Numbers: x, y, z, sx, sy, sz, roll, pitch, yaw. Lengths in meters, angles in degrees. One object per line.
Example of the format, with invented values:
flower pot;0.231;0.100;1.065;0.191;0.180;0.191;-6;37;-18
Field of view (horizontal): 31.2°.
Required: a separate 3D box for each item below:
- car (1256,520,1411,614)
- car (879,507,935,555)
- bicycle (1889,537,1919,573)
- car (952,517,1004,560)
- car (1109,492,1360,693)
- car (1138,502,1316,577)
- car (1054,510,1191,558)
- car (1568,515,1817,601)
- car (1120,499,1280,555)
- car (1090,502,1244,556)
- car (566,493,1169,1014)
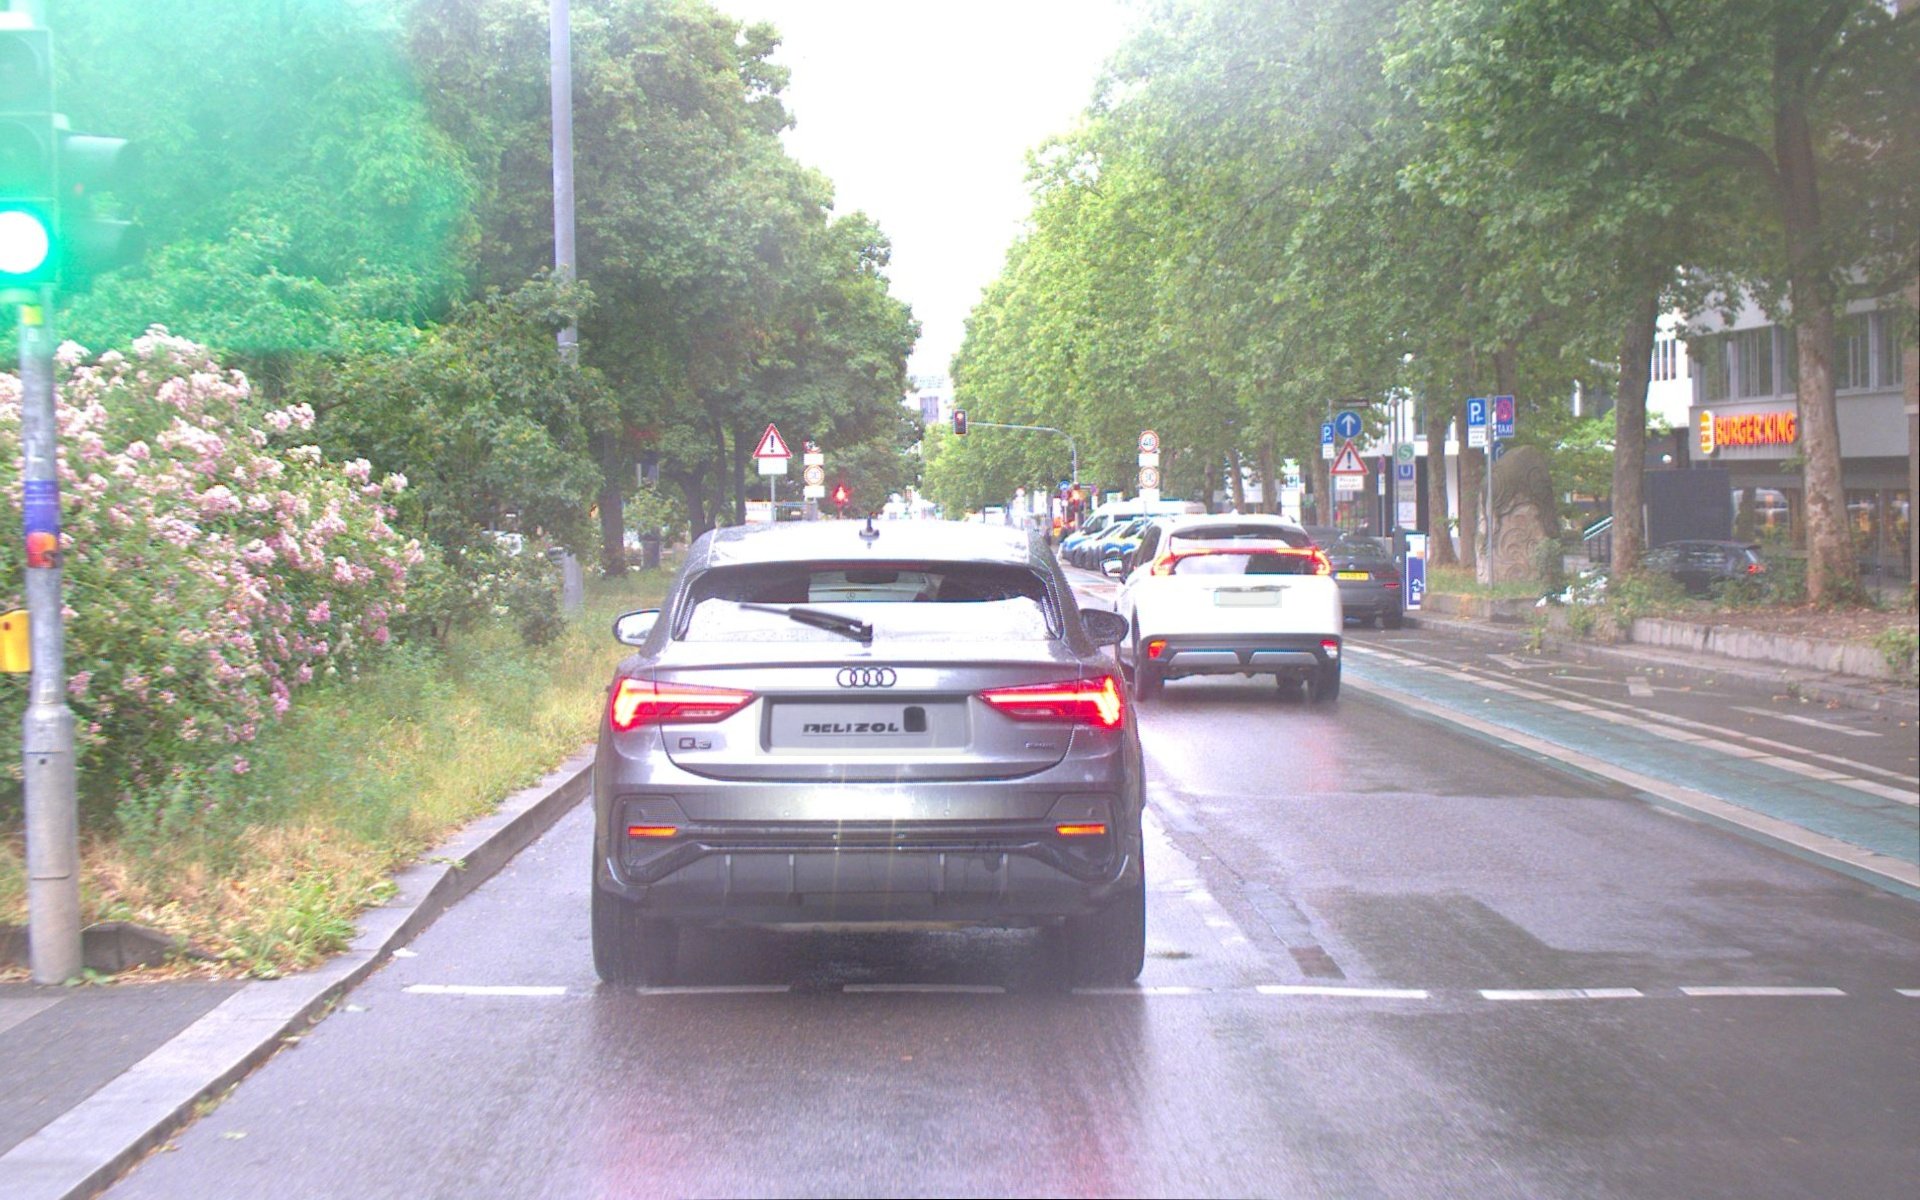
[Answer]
car;5.947;-0.543;55.184;1.873;1.416;4.612;1;1;-1
car;-1.994;-2.551;127.624;1.993;1.720;4.000;1;1;-2
bicycle;22.261;-1.054;80.455;0.448;0.833;2.027;1;1;-1
car;0.710;-2.458;137.722;1.993;1.645;4.000;1;1;-1
car;2.433;-0.091;31.403;1.878;1.691;4.000;1;1;-1
car;7.454;-1.691;96.009;4.602;2.007;1.964;1;1;37
car;6.006;-2.437;127.274;4.645;1.700;1.997;1;1;27
car;9.636;-0.557;45.243;2.889;1.071;1.453;1;1;30
car;7.659;-2.332;109.727;4.645;1.700;1.997;1;1;27
car;6.821;-2.335;113.416;4.645;1.700;1.997;1;1;27
car;-0.355;0.432;12.567;1.849;1.596;4.001;0;1;-2
